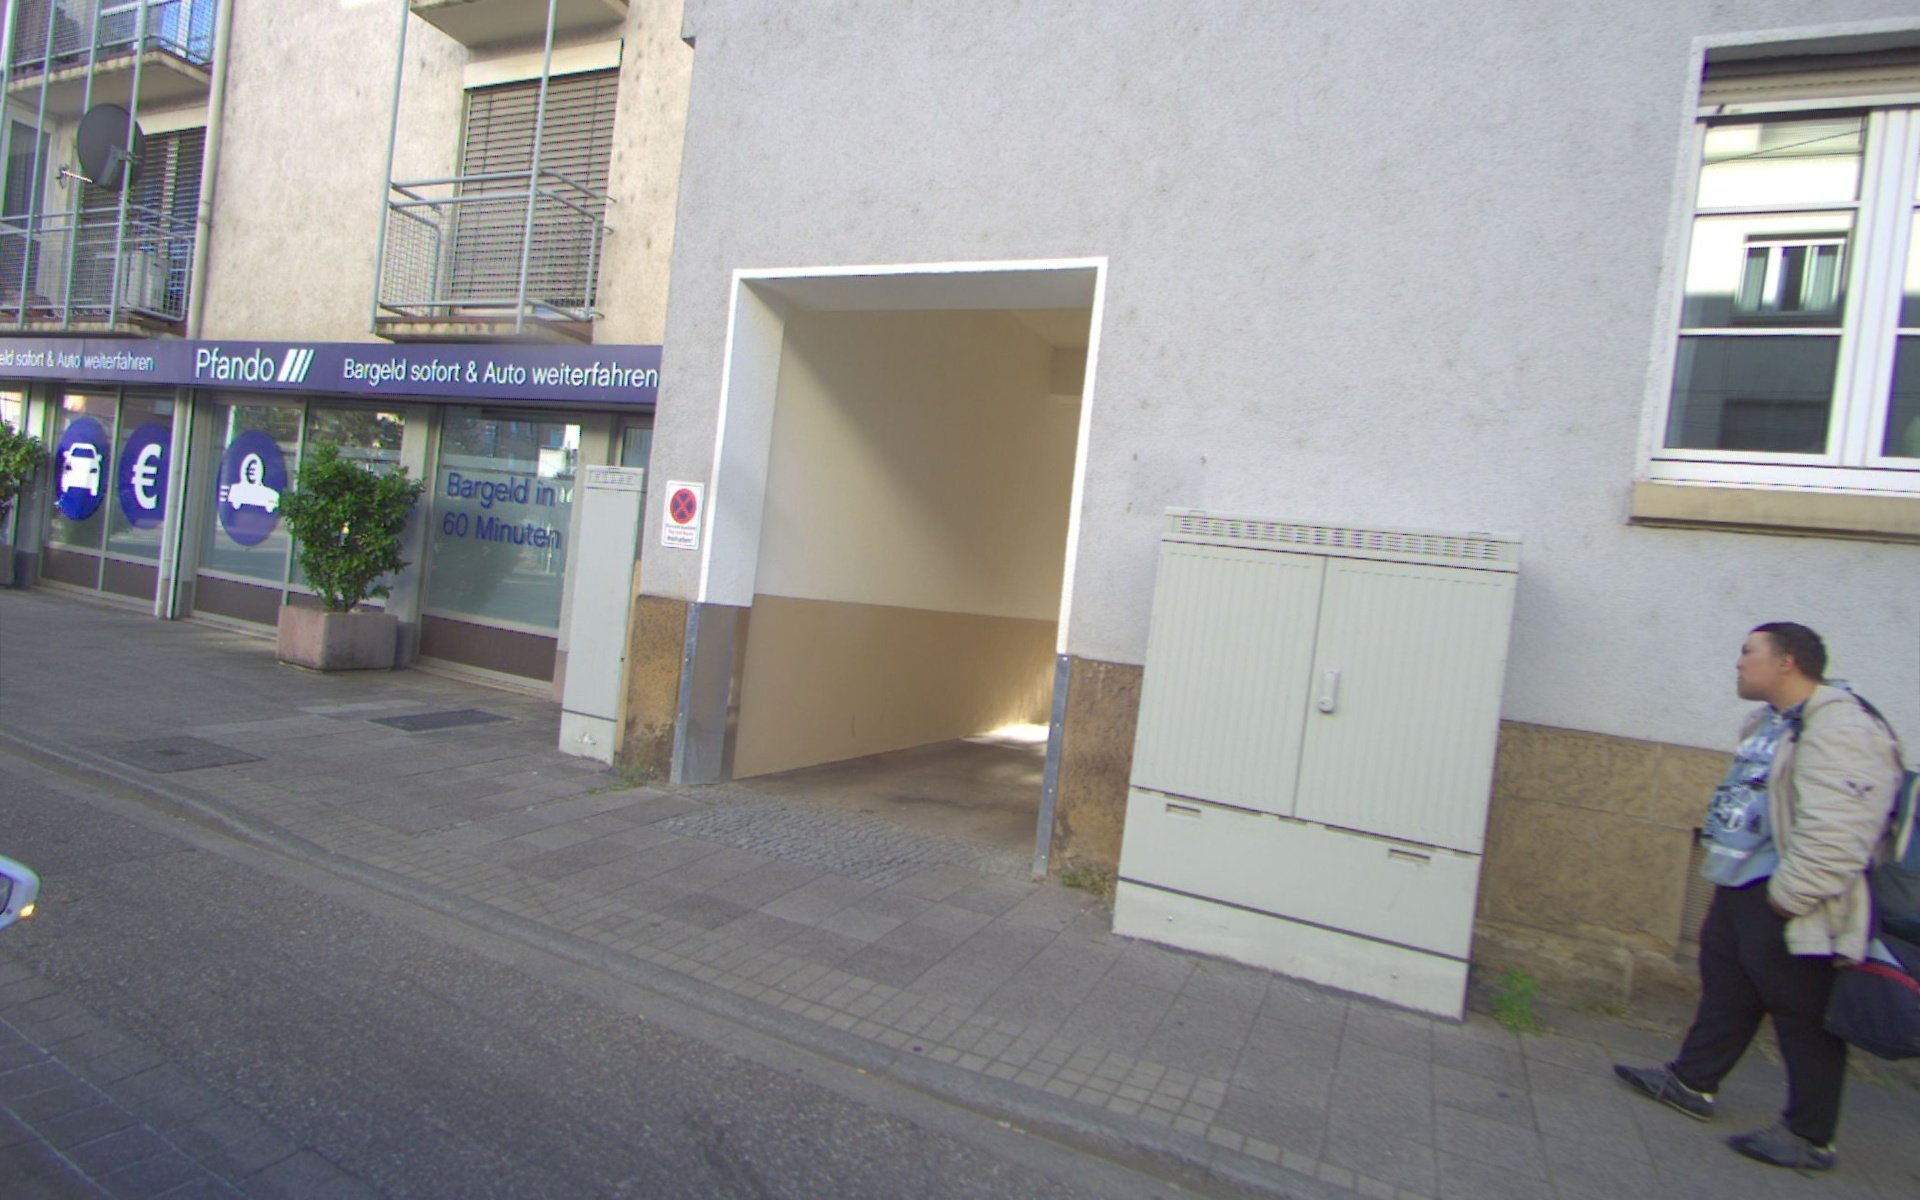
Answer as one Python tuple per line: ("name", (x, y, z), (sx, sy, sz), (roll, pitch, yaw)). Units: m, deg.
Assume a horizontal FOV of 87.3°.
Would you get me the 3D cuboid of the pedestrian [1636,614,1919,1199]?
("pedestrian", (2.671, 0.865, 2.954), (0.854, 1.555, 0.826), (7, 3, 26))
